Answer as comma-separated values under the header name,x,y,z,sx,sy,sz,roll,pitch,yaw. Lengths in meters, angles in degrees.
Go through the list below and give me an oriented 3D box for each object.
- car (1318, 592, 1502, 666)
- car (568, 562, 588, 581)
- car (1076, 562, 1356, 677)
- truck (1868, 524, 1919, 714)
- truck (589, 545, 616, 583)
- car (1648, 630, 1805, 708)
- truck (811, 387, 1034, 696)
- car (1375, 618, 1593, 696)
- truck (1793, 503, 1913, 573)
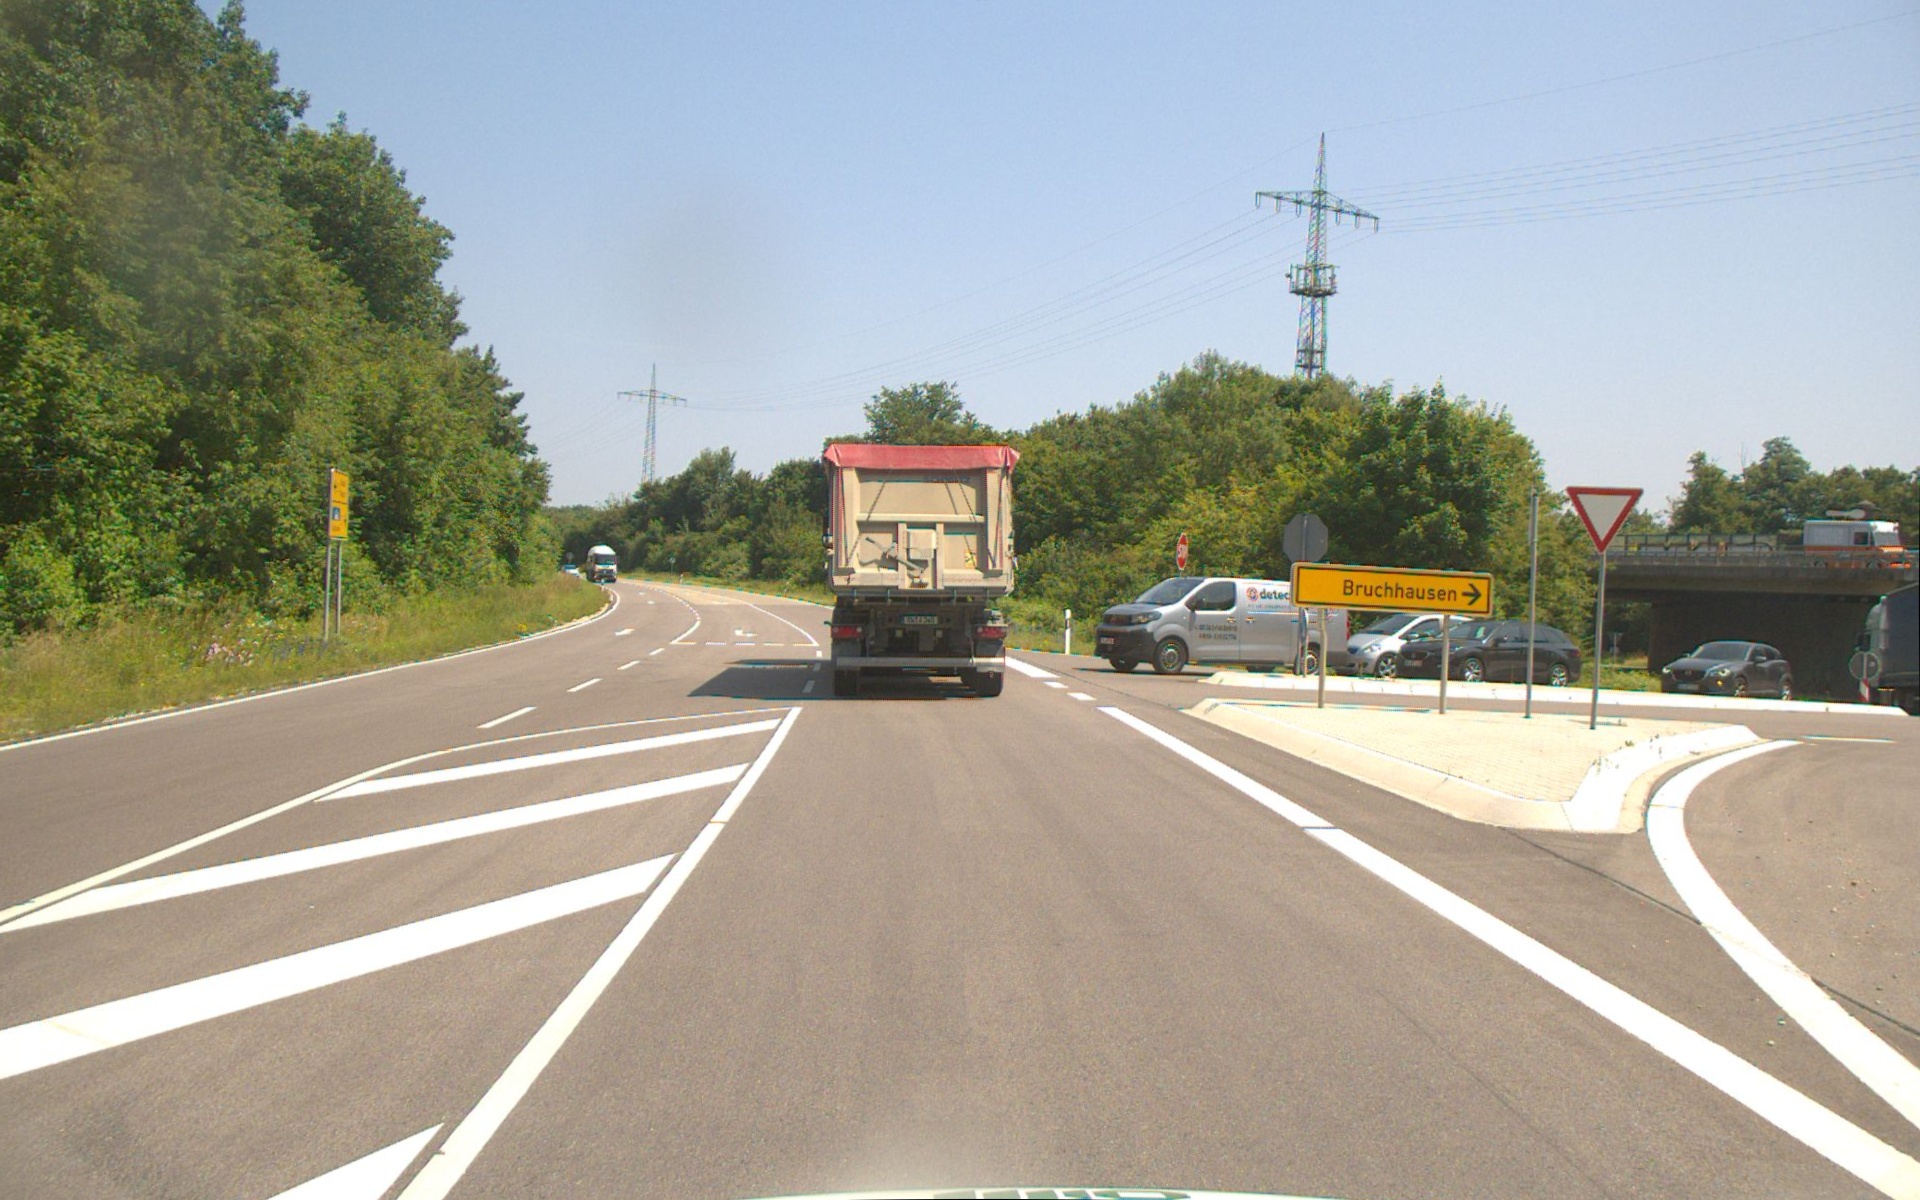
name,x,y,z,sx,sy,sz,roll,pitch,yaw
car,10.343,0.649,37.959,3.936,1.607,1.828,0,0,-29
car,-38.101,-2.779,164.952,1.811,1.810,4.877,0,0,-13
car,5.015,0.407,32.247,5.148,1.940,1.997,3,-1,-26
truck,30.176,0.567,49.704,3.294,5.408,15.338,0,0,22
truck,-36.908,-3.692,170.952,2.580,3.735,8.771,0,1,-11
car,18.440,1.668,39.712,4.055,1.626,1.787,5,-3,-39
truck,-1.012,-0.829,27.684,2.837,4.031,11.919,1,1,-5
car,11.099,1.193,34.969,4.499,1.500,1.850,1,0,-30
truck,45.310,-3.083,84.044,2.444,3.333,4.833,1,0,-29
